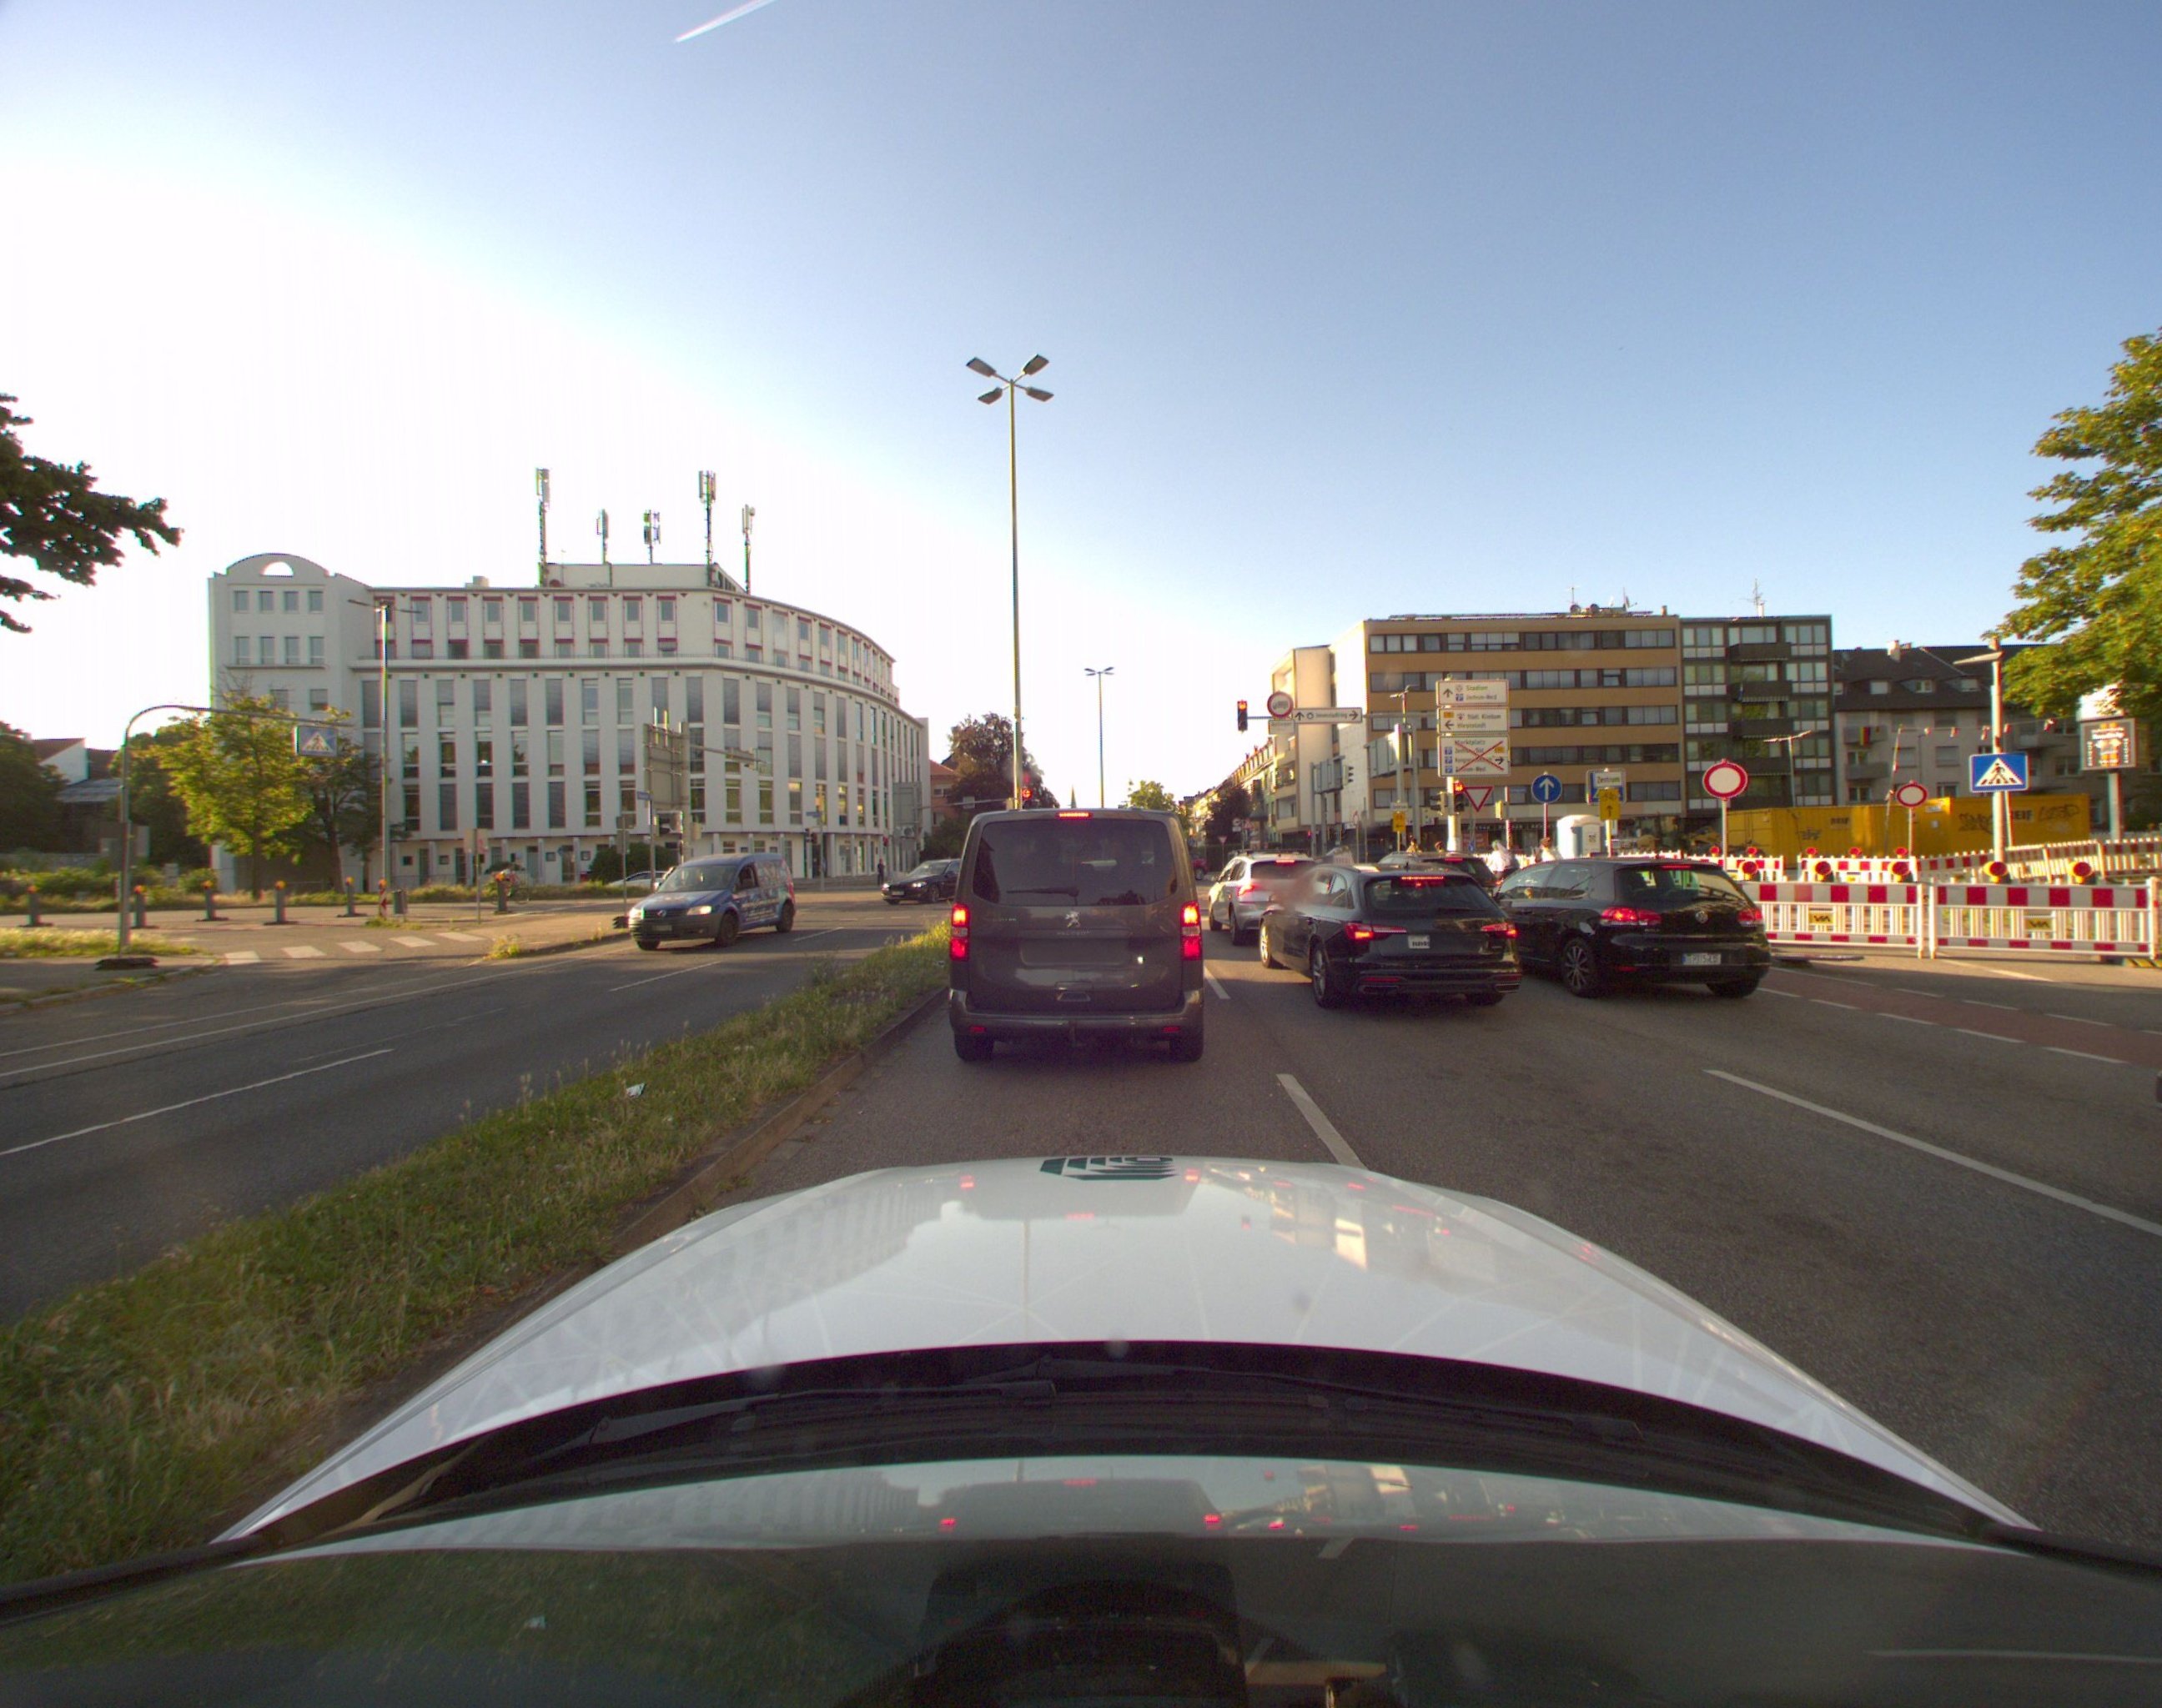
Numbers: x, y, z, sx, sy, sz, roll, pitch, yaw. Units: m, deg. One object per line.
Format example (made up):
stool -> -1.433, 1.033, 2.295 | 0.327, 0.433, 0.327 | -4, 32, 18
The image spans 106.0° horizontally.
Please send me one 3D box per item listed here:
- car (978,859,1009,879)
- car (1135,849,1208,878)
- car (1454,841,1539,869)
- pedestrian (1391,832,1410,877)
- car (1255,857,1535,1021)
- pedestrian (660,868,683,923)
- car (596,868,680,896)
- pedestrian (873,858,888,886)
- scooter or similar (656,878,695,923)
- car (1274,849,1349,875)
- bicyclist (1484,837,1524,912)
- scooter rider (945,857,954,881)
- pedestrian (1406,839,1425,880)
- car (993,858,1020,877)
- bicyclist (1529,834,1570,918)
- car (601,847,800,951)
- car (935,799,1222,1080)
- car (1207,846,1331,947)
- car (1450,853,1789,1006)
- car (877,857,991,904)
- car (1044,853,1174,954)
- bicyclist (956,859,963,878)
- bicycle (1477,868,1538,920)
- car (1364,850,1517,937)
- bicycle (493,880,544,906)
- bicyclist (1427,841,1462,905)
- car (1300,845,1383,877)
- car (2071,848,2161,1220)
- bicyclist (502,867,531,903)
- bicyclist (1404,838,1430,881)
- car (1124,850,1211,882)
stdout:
car -> -6.689, 1.101, 62.753 | 1.850, 1.420, 4.000 | -2, 0, 0
car -> 5.475, 0.558, 49.559 | 4.109, 1.594, 1.793 | -2, -1, -4
car -> 22.760, 0.055, 44.646 | 3.990, 1.418, 1.675 | -2, 0, -12
pedestrian -> 13.218, 0.030, 33.744 | 0.567, 1.834, 0.488 | -2, 0, 4
car -> 3.203, 0.759, 9.257 | 1.675, 1.421, 4.215 | 0, 0, 2
pedestrian -> -11.553, 1.169, 22.977 | 0.474, 1.505, 0.334 | -2, 0, -10
car -> -24.826, 1.546, 45.734 | 3.775, 1.372, 1.648 | -2, 0, -4
pedestrian -> -12.693, 1.153, 51.621 | 0.631, 1.722, 0.663 | -1, -1, -42
scooter or similar -> -11.439, 1.306, 22.982 | 0.893, 1.234, 0.370 | -2, 0, -10
car -> 13.307, 0.478, 47.112 | 3.811, 1.354, 1.724 | -2, 0, -6
bicyclist -> 8.913, 0.424, 17.184 | 0.439, 1.525, 0.725 | -2, 0, 2
scooter rider -> -9.467, 1.103, 58.704 | 0.479, 1.697, 0.636 | -2, 0, 1
pedestrian -> 13.885, 0.233, 33.818 | 0.599, 1.671, 0.455 | -2, 0, 3
car -> -6.226, 1.125, 68.408 | 1.850, 1.420, 4.000 | -2, 0, 0
bicyclist -> 8.645, 0.399, 15.031 | 0.439, 1.525, 0.482 | -2, 0, 1
car -> -7.605, 0.821, 16.832 | 1.986, 1.817, 4.231 | -2, 0, 1
car -> 0.054, 0.575, 7.681 | 1.900, 1.863, 4.528 | 0, 0, 2
car -> 3.298, 0.687, 14.920 | 1.523, 1.613, 3.746 | 0, 0, 2
car -> 5.974, 0.724, 9.636 | 1.627, 1.449, 3.746 | 0, 0, 2
car -> -5.157, 0.907, 29.143 | 1.681, 1.441, 4.268 | -2, 0, 28
car -> 0.505, 0.775, 14.733 | 1.986, 1.530, 4.002 | -2, 0, 2
bicyclist -> -9.734, 1.174, 65.227 | 0.461, 1.522, 0.469 | -2, 0, 1
bicycle -> 8.914, 0.808, 17.099 | 0.335, 1.008, 1.856 | -2, 0, 2
car -> 6.571, 0.659, 15.256 | 1.499, 1.449, 3.306 | 0, 0, 2
bicycle -> -24.546, 1.693, 35.530 | 1.795, 1.042, 0.502 | -2, 0, -5
bicyclist -> 8.979, 0.458, 20.120 | 0.511, 1.525, 0.725 | -2, 0, 1
car -> 13.955, 0.367, 43.646 | 3.996, 1.516, 1.672 | -2, 0, -17
car -> 5.133, 0.690, 1.142 | 1.809, 1.449, 4.665 | -1, 0, -1
bicyclist -> -24.610, 1.345, 35.523 | 0.884, 1.496, 0.457 | -2, 0, -5
bicyclist -> 12.538, 0.194, 30.421 | 0.616, 1.589, 0.814 | 0, 0, -2
car -> 4.328, 0.573, 40.666 | 4.009, 1.418, 1.667 | -2, 0, -27
